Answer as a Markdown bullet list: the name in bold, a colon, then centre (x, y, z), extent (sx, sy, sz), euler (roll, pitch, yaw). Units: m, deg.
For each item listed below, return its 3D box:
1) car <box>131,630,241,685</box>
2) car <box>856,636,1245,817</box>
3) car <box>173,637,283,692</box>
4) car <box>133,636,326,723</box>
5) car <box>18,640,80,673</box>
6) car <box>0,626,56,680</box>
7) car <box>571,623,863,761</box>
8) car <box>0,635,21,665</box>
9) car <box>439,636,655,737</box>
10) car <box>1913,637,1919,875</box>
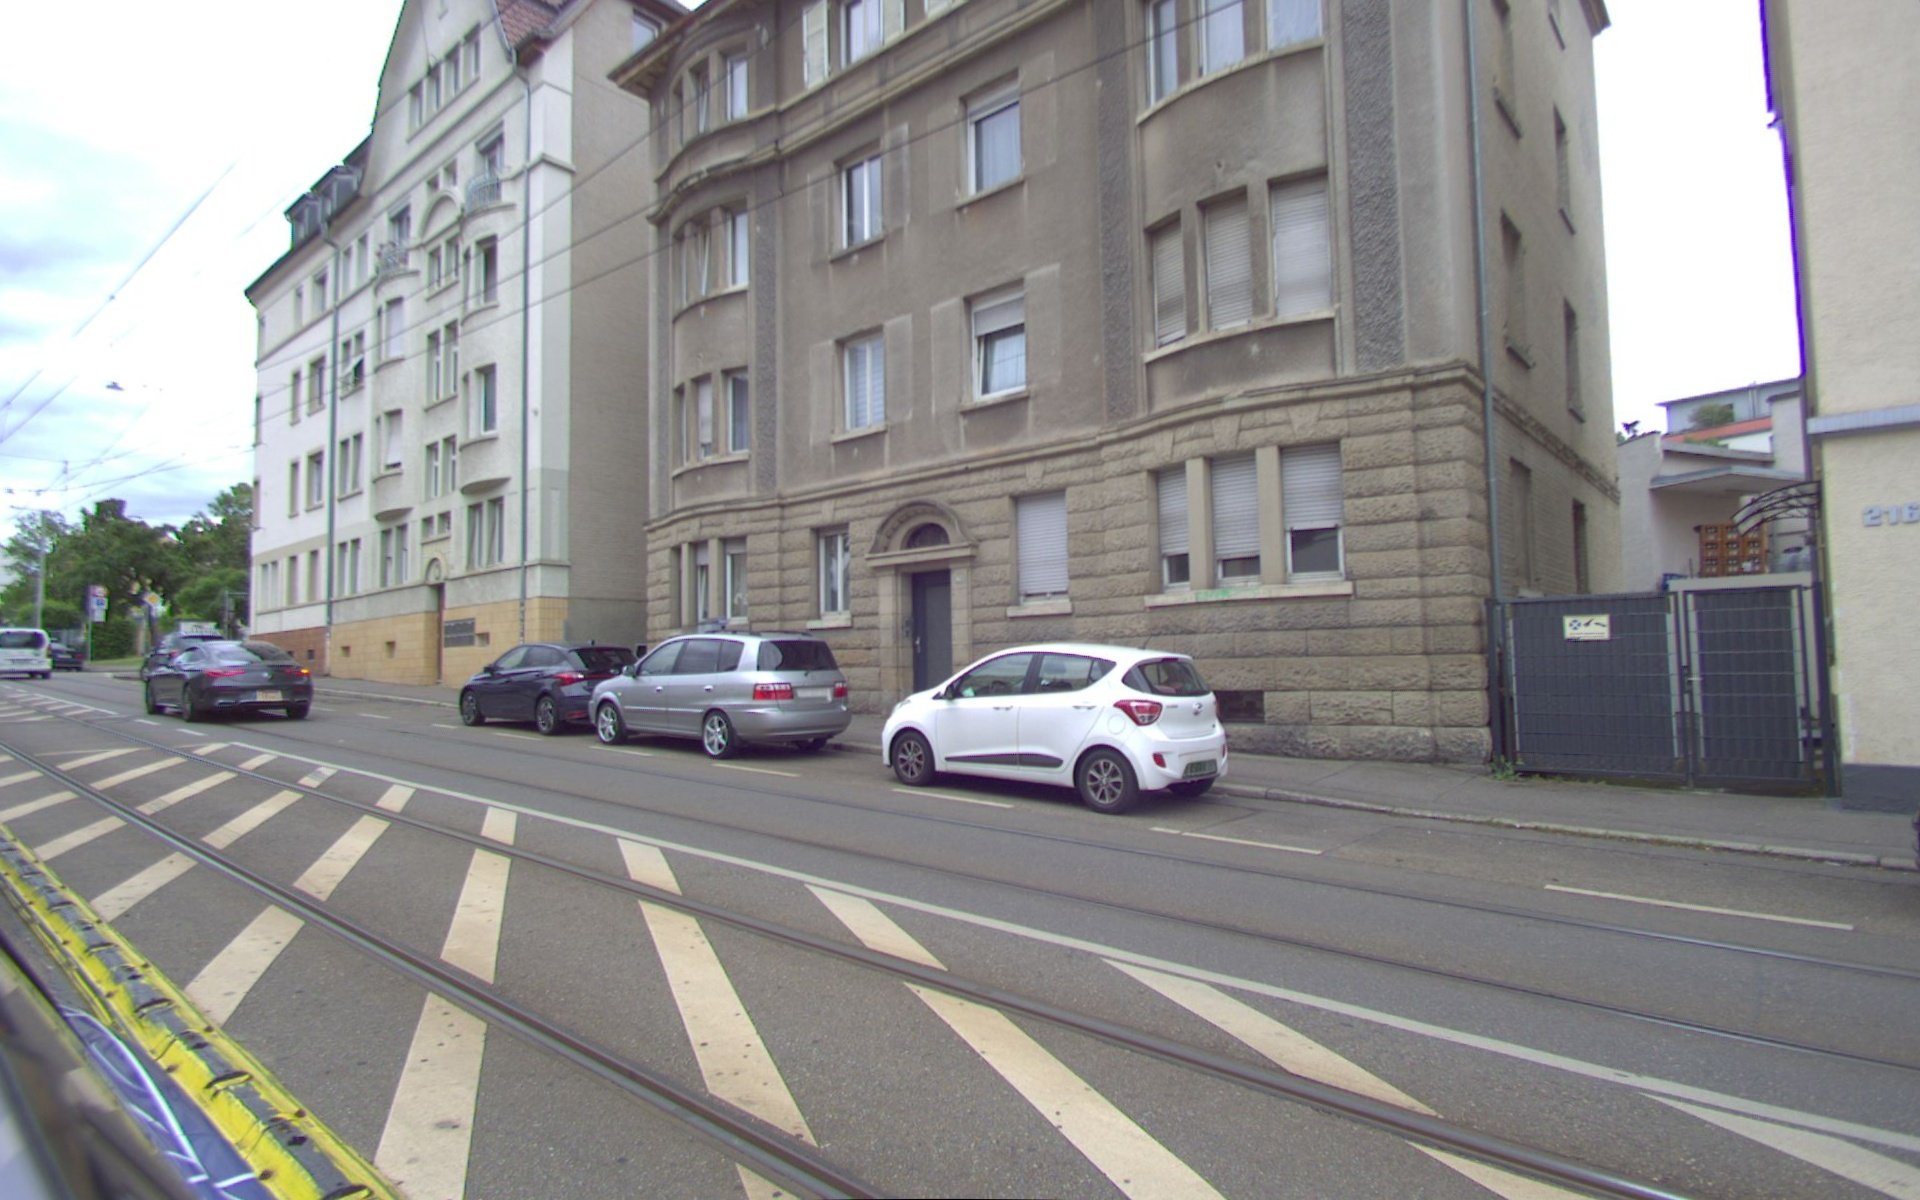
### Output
- **car**: centre (-25.259, 1.852, 32.991), extent (4.398, 1.658, 1.848), euler (-1, -4, 40)
- **car**: centre (0.808, 1.142, 10.252), extent (3.683, 1.474, 1.603), euler (-1, -4, 42)
- **car**: centre (-21.678, 1.886, 29.941), extent (3.740, 1.474, 1.605), euler (-1, -4, 38)
- **car**: centre (-13.766, 1.415, 18.973), extent (4.495, 1.435, 1.901), euler (-2, -4, 41)
- **car**: centre (-44.571, 2.767, 49.502), extent (4.153, 1.489, 1.604), euler (-1, -4, 40)
- **car**: centre (-33.954, 1.885, 36.237), extent (4.216, 1.833, 1.900), euler (-2, -4, 42)
- **car**: centre (-3.443, 1.197, 13.926), extent (4.347, 1.616, 1.604), euler (-2, -5, 40)
- **car**: centre (-62.524, 3.197, 65.422), extent (4.731, 1.927, 1.949), euler (-1, -4, 40)
- **car**: centre (-6.988, 1.379, 16.970), extent (4.029, 1.474, 1.604), euler (-1, -4, 40)
- **car**: centre (7.293, 0.916, 4.355), extent (4.554, 1.485, 1.603), euler (-1, -4, 42)
